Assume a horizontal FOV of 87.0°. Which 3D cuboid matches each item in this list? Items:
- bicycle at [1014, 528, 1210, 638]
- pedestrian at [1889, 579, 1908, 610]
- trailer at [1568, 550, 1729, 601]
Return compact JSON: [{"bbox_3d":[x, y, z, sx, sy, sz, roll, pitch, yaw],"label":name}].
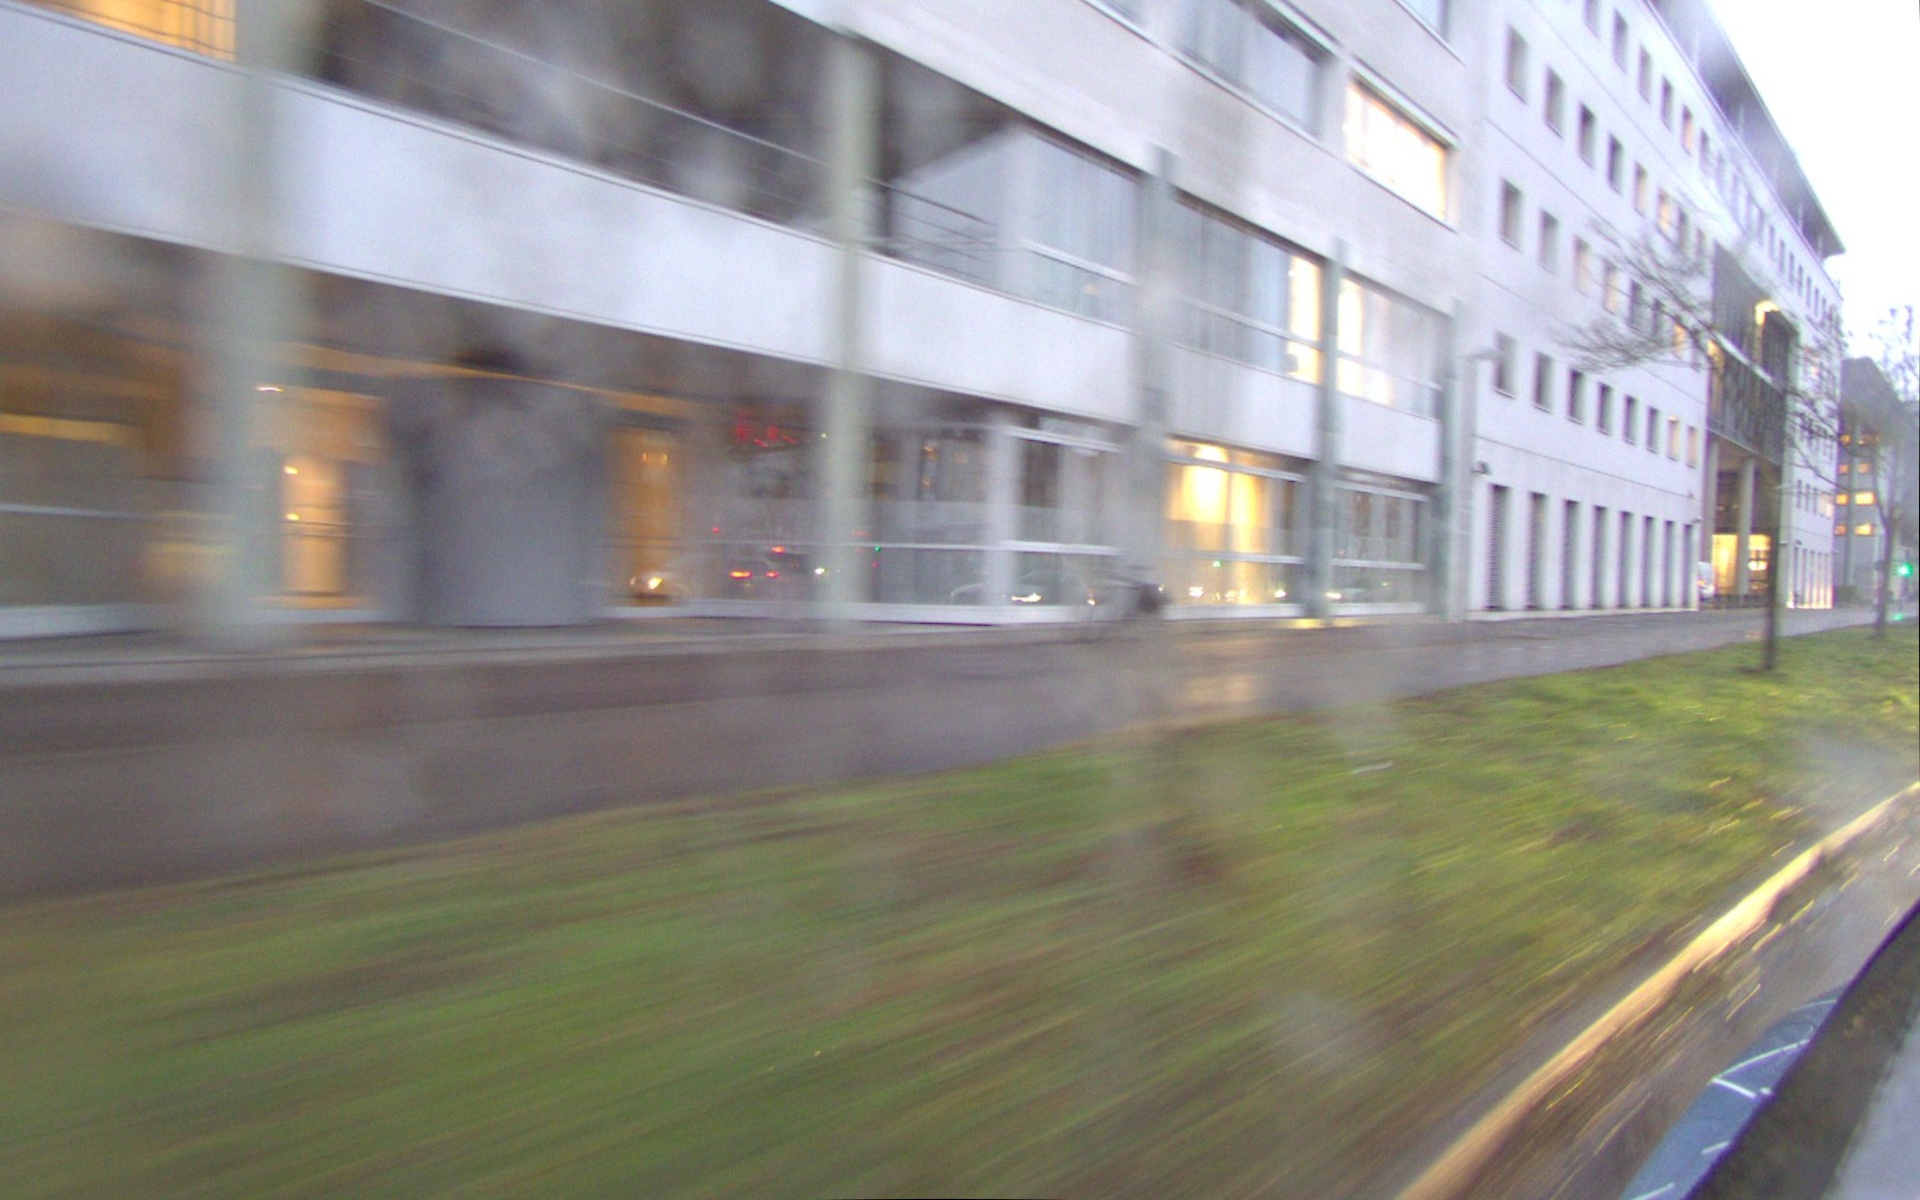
[{"bbox_3d":[1.986,-0.210,13.156,2.407,1.288,0.827,1,5,-27],"label":"bicycle"},{"bbox_3d":[53.251,-0.333,57.424,0.737,1.757,0.692,1,1,45],"label":"pedestrian"},{"bbox_3d":[28.343,-1.035,41.831,2.090,1.935,5.083,2,1,-37],"label":"trailer"}]
